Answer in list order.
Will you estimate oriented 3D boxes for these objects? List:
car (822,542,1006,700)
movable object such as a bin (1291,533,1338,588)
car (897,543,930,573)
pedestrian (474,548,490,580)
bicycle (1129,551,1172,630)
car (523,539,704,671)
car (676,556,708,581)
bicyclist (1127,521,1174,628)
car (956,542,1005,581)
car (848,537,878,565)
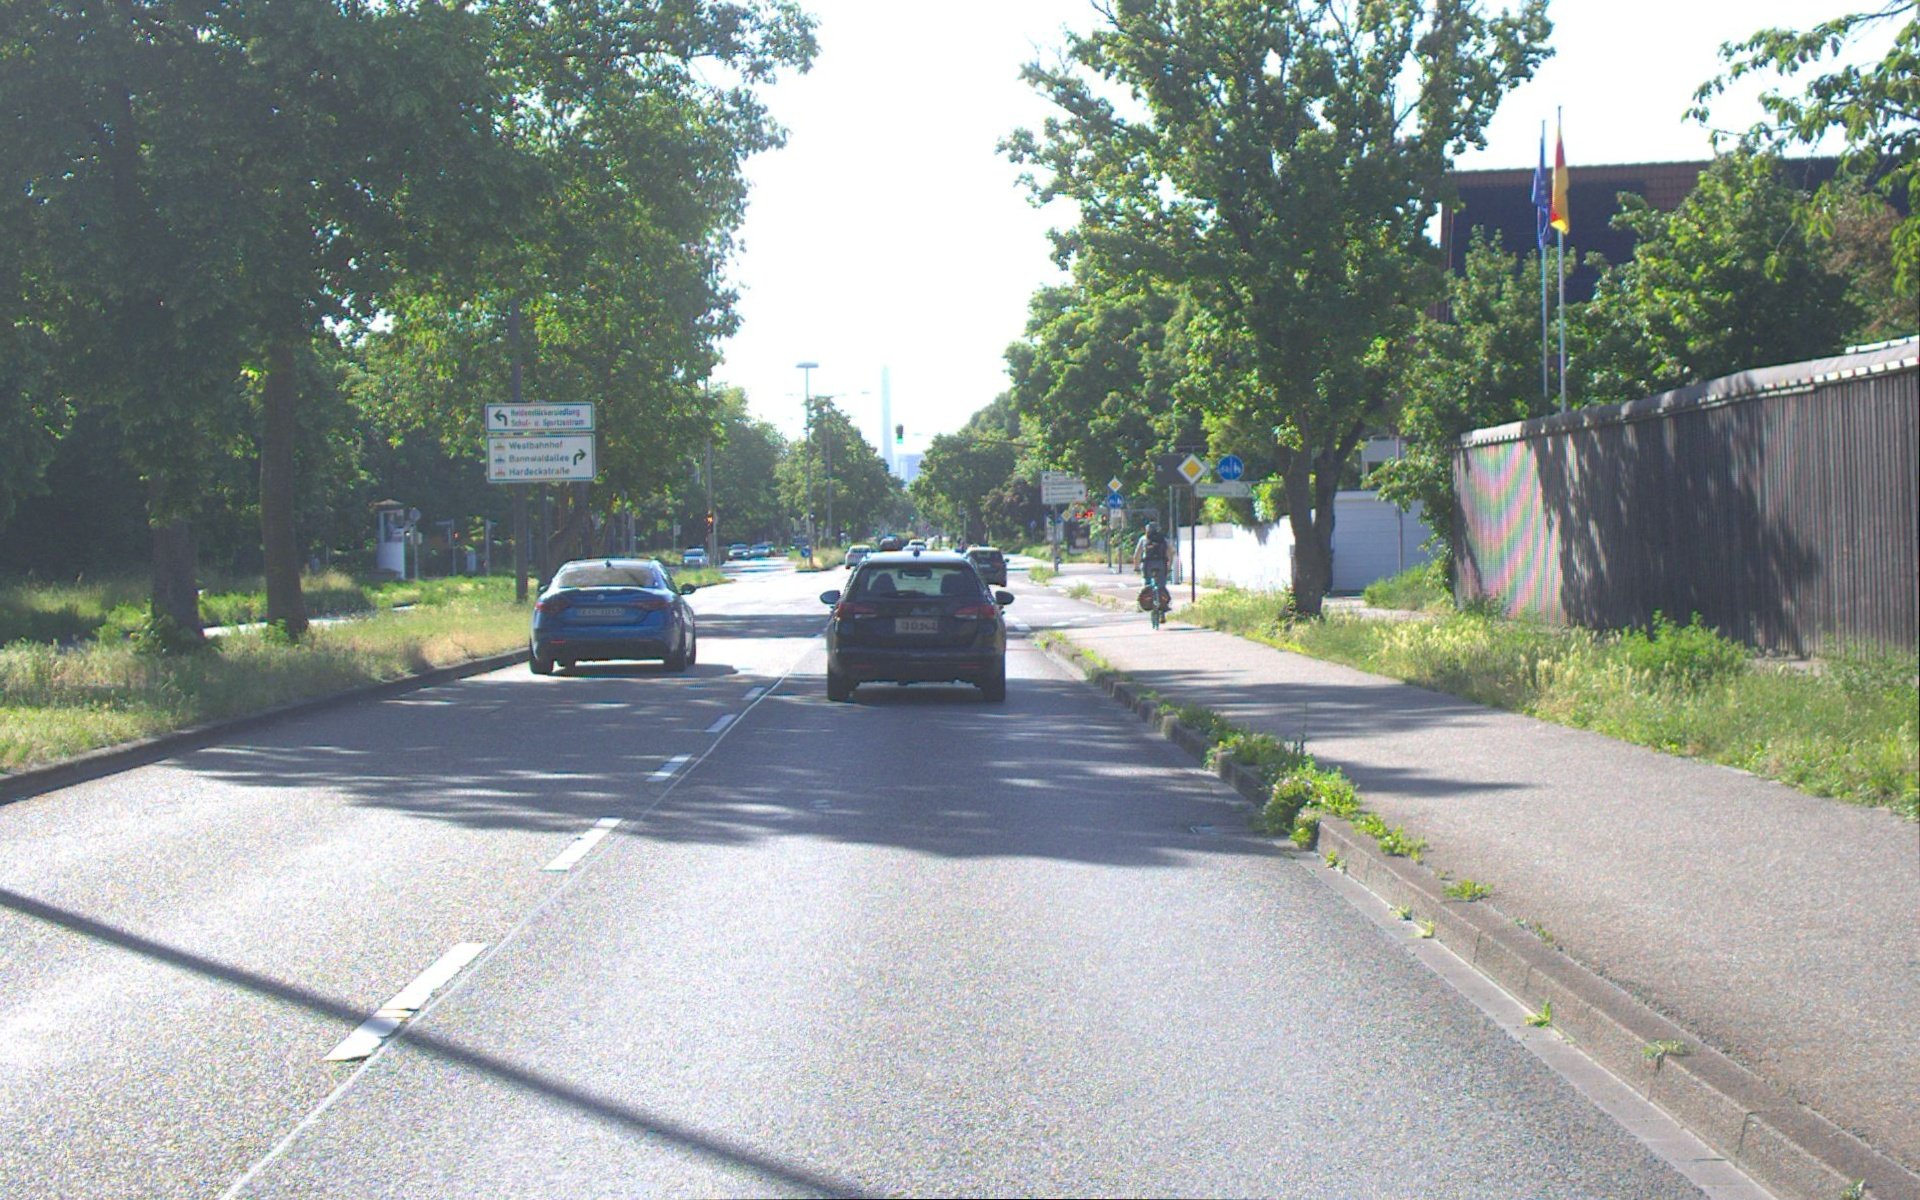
[{"bbox_3d":[-0.461,0.185,34.697,1.755,1.504,3.809,0,0,-1],"label":"car"},{"bbox_3d":[8.131,-0.907,78.898,1.002,1.201,1.062,-3,0,7],"label":"movable object such as a bin"},{"bbox_3d":[-2.492,-2.256,185.470,1.732,1.579,3.840,1,0,-1],"label":"car"},{"bbox_3d":[-27.867,-2.101,200.330,0.846,1.829,0.549,-1,1,1],"label":"pedestrian"},{"bbox_3d":[3.028,-0.157,54.456,0.574,1.151,2.140,-4,1,4],"label":"bicycle"},{"bbox_3d":[-4.326,0.042,43.421,1.888,1.547,4.000,-1,0,-1],"label":"car"},{"bbox_3d":[-18.832,-2.227,241.837,1.912,1.697,4.408,1,0,0],"label":"car"},{"bbox_3d":[3.022,-0.407,54.429,0.630,1.627,0.982,-4,1,4],"label":"bicyclist"},{"bbox_3d":[0.808,-1.474,131.808,1.732,1.454,3.840,0,1,3],"label":"car"},{"bbox_3d":[-6.000,-3.055,213.091,1.824,1.609,3.841,-2,2,-1],"label":"car"}]
